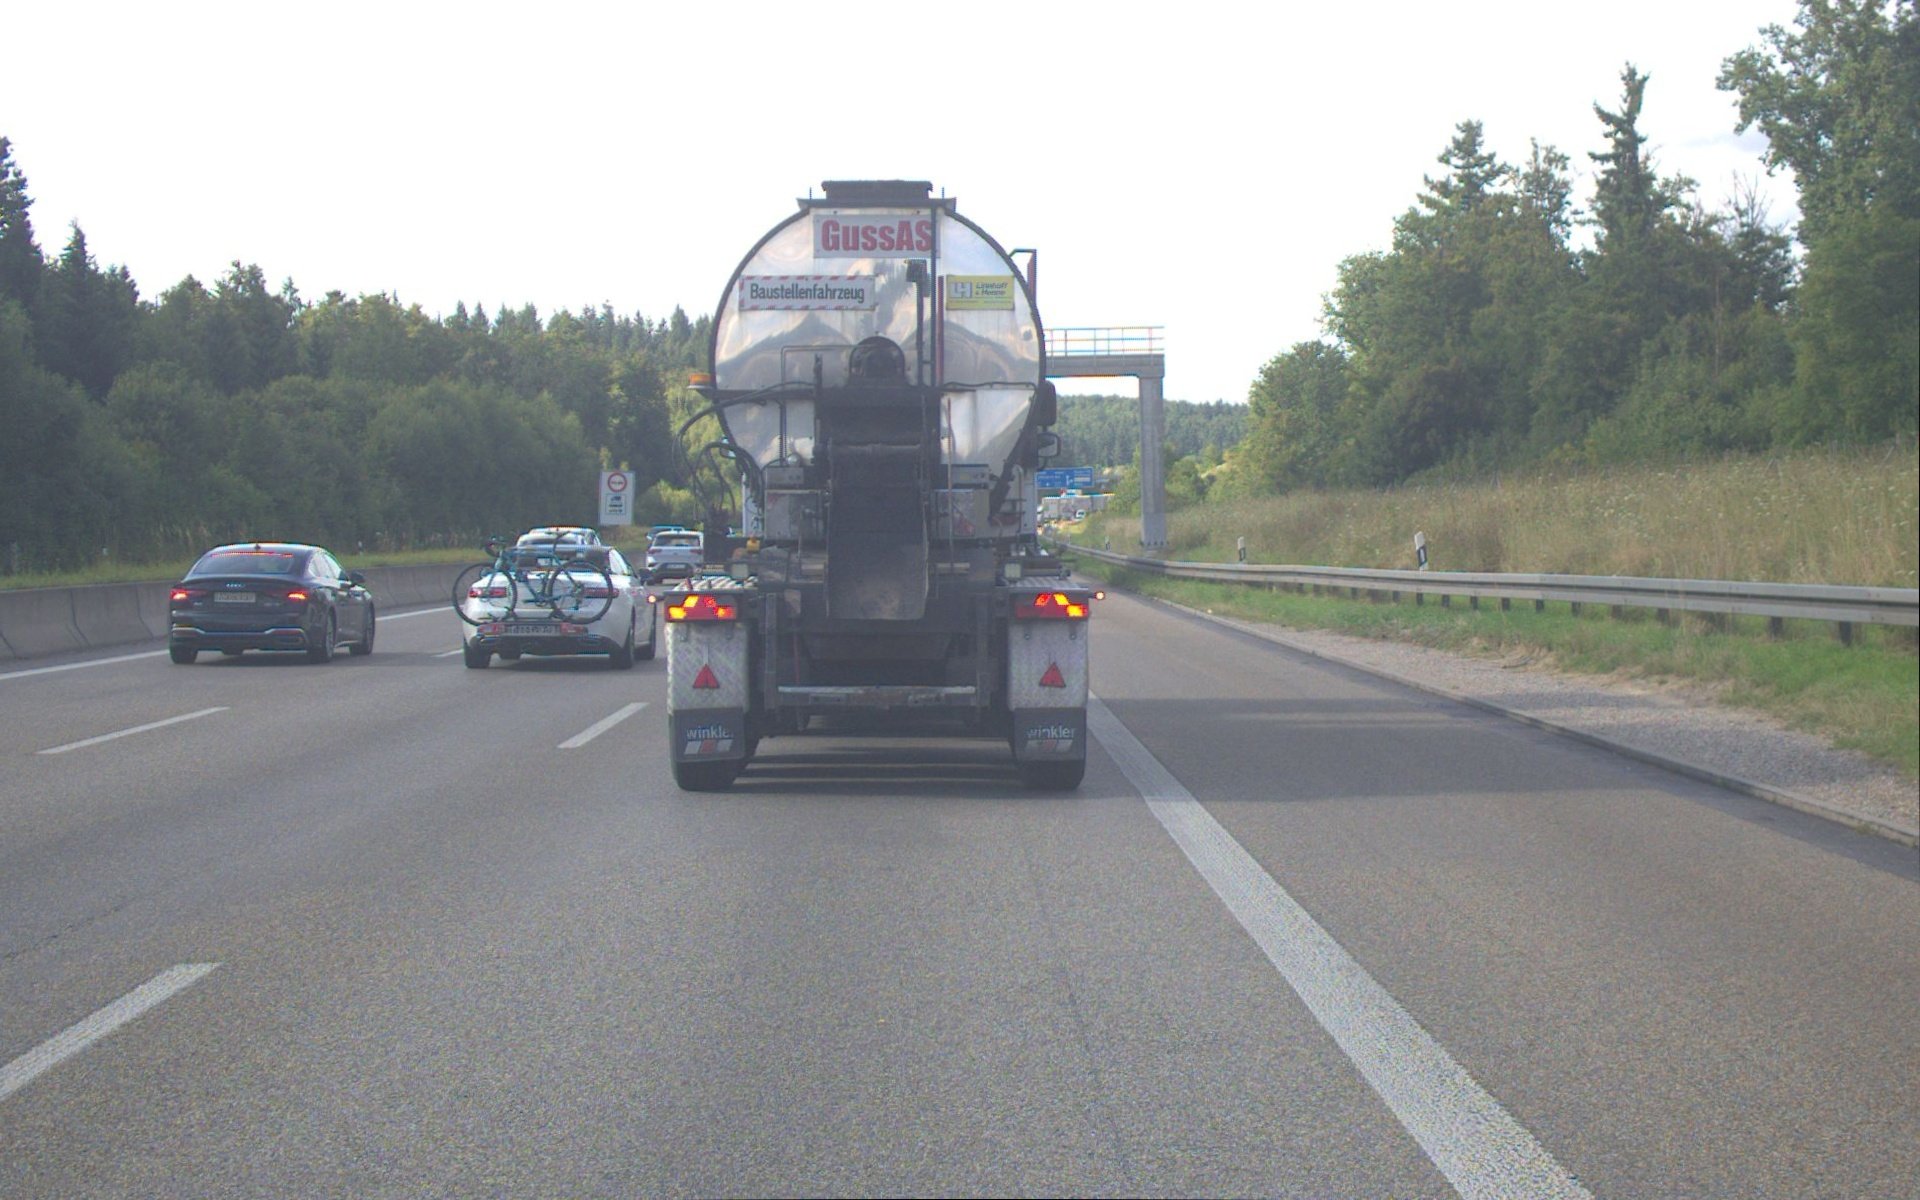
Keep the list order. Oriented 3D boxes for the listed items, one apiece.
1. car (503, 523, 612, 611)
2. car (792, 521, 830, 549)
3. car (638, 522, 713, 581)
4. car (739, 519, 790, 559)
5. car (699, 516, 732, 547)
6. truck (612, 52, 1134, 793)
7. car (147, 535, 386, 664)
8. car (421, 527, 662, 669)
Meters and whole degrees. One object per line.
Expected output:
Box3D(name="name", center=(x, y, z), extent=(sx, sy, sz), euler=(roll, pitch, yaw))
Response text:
Box3D(name="car", center=(-7.363, -0.617, 63.090), extent=(1.618, 1.539, 3.520), euler=(1, 1, -1))
Box3D(name="car", center=(-8.152, -3.540, 187.881), extent=(1.942, 1.451, 4.207), euler=(1, 2, -1))
Box3D(name="car", center=(-8.076, -1.397, 97.867), extent=(1.806, 1.580, 4.207), euler=(1, 2, -1))
Box3D(name="car", center=(-8.144, -2.571, 143.289), extent=(1.942, 1.580, 4.207), euler=(1, 2, -1))
Box3D(name="car", center=(-16.015, -4.505, 225.387), extent=(1.993, 2.007, 4.072), euler=(0, 1, -1))
Box3D(name="truck", center=(-0.493, -1.114, 24.874), extent=(2.912, 4.143, 11.270), euler=(0, 1, 0))
Box3D(name="car", center=(-8.101, -0.056, 40.588), extent=(1.856, 1.426, 4.841), euler=(0, 1, 0))
Box3D(name="car", center=(-4.656, -0.076, 39.087), extent=(2.060, 1.494, 5.736), euler=(0, 1, 0))
